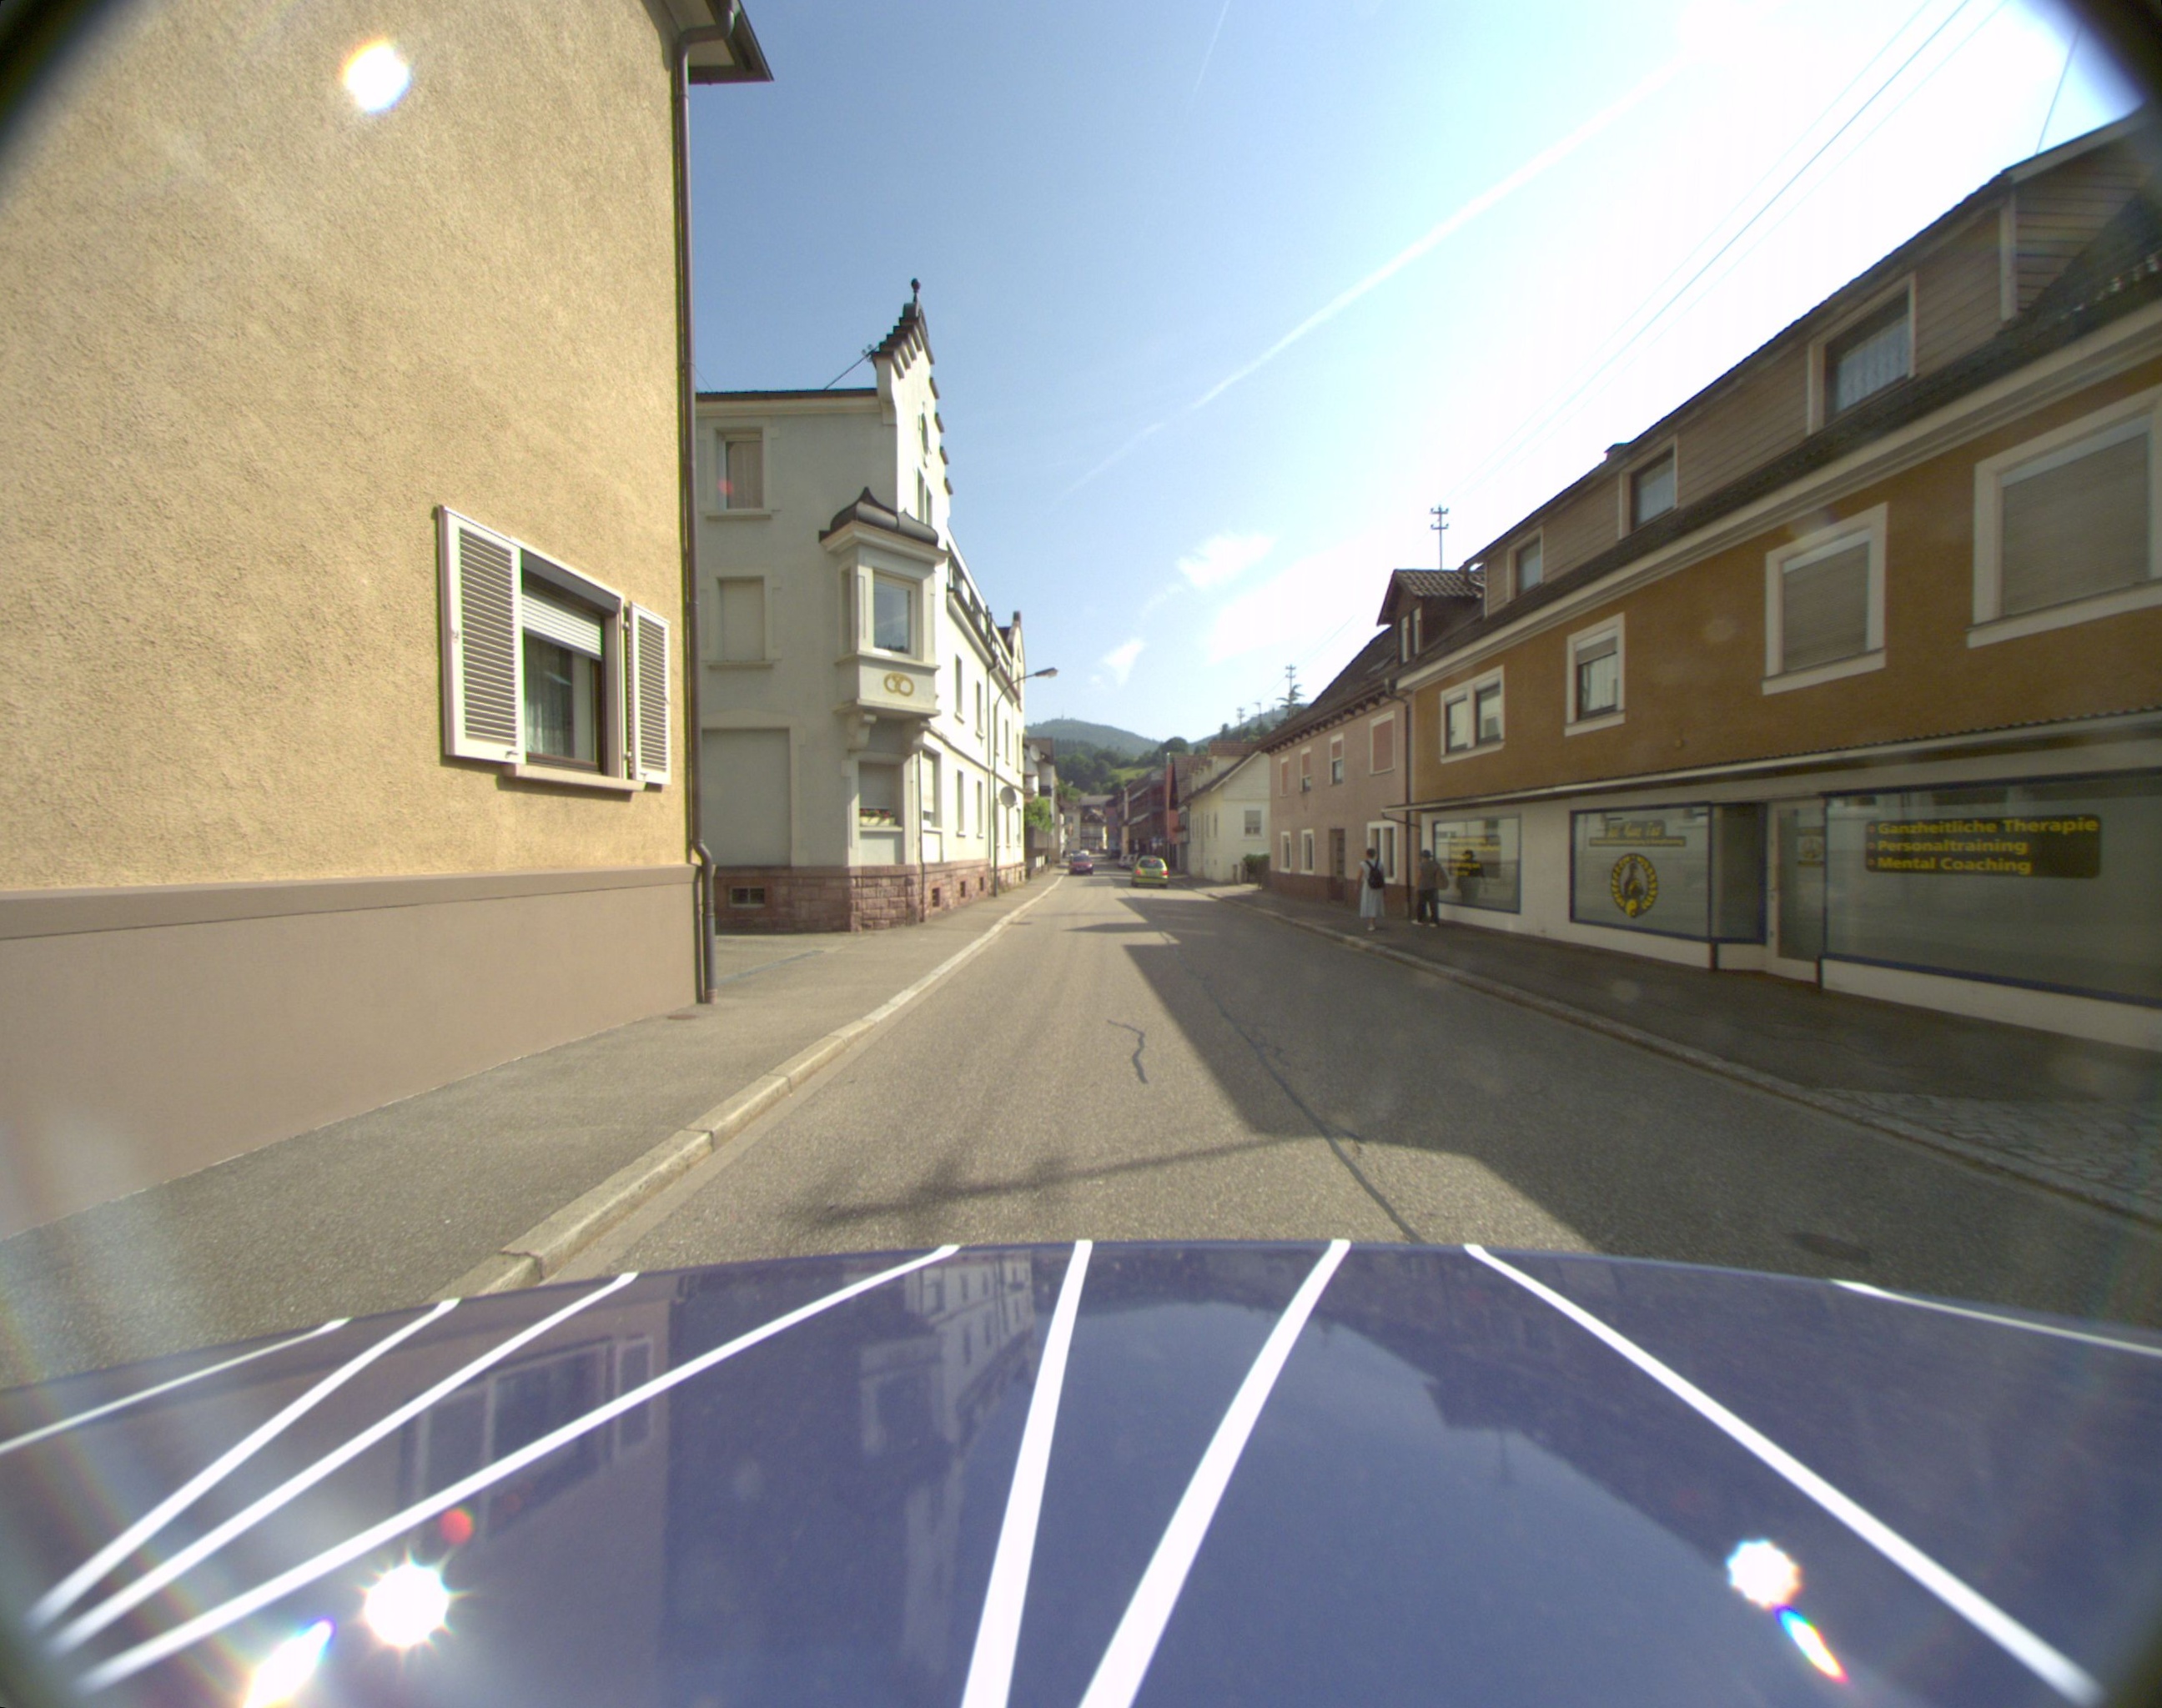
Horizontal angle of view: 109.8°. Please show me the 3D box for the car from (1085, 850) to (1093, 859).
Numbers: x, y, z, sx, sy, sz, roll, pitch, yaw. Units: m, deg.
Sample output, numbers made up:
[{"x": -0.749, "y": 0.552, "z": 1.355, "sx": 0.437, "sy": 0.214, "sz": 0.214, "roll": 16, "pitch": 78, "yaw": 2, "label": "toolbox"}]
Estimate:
[{"x": 1.720, "y": 0.075, "z": 172.545, "sx": 1.742, "sy": 2.002, "sz": 3.839, "roll": -1, "pitch": 0, "yaw": 0, "label": "car"}]

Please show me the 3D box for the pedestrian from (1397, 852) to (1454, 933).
[{"x": 6.962, "y": 0.761, "z": 15.373, "sx": 0.736, "sy": 1.555, "sz": 0.824, "roll": -3, "pitch": 1, "yaw": 1, "label": "pedestrian"}]

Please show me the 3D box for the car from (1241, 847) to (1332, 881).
[{"x": 10.361, "y": 0.487, "z": 38.499, "sx": 3.998, "sy": 1.584, "sz": 1.907, "roll": -2, "pitch": 1, "yaw": -2, "label": "car"}]

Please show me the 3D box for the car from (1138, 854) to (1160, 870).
[{"x": 6.260, "y": 0.739, "z": 70.485, "sx": 1.670, "sy": 1.423, "sz": 3.568, "roll": -2, "pitch": 0, "yaw": 1, "label": "car"}]

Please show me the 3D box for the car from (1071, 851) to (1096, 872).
[{"x": 0.182, "y": 0.651, "z": 61.645, "sx": 1.822, "sy": 1.652, "sz": 4.000, "roll": 0, "pitch": -1, "yaw": -2, "label": "car"}]

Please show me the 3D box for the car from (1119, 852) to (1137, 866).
[{"x": 5.457, "y": 0.609, "z": 88.140, "sx": 1.678, "sy": 1.546, "sz": 3.764, "roll": -2, "pitch": 0, "yaw": -2, "label": "car"}]

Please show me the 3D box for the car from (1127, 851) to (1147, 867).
[{"x": 5.953, "y": 0.492, "z": 81.286, "sx": 1.679, "sy": 1.580, "sz": 3.948, "roll": -1, "pitch": 0, "yaw": -2, "label": "car"}]

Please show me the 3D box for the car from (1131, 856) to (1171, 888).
[{"x": 3.415, "y": 0.856, "z": 37.776, "sx": 1.600, "sy": 1.456, "sz": 3.659, "roll": 3, "pitch": 0, "yaw": 0, "label": "car"}]

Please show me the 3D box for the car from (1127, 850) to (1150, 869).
[{"x": 5.673, "y": 0.538, "z": 75.614, "sx": 1.725, "sy": 1.786, "sz": 4.268, "roll": -1, "pitch": 0, "yaw": -3, "label": "car"}]

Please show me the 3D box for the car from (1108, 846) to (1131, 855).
[{"x": 7.037, "y": -0.662, "z": 138.853, "sx": 4.000, "sy": 1.674, "sz": 1.834, "roll": -1, "pitch": -1, "yaw": -9, "label": "car"}]

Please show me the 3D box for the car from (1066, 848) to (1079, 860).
[{"x": -1.592, "y": -0.023, "z": 141.820, "sx": 1.999, "sy": 2.002, "sz": 3.997, "roll": -2, "pitch": 1, "yaw": -5, "label": "car"}]

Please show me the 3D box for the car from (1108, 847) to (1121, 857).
[{"x": 5.681, "y": -0.386, "z": 129.700, "sx": 1.787, "sy": 1.566, "sz": 3.888, "roll": -4, "pitch": 1, "yaw": -1, "label": "car"}]

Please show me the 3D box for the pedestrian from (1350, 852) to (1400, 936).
[{"x": 5.890, "y": 0.785, "z": 15.245, "sx": 0.641, "sy": 1.617, "sz": 0.777, "roll": -3, "pitch": 1, "yaw": 2, "label": "pedestrian"}]
